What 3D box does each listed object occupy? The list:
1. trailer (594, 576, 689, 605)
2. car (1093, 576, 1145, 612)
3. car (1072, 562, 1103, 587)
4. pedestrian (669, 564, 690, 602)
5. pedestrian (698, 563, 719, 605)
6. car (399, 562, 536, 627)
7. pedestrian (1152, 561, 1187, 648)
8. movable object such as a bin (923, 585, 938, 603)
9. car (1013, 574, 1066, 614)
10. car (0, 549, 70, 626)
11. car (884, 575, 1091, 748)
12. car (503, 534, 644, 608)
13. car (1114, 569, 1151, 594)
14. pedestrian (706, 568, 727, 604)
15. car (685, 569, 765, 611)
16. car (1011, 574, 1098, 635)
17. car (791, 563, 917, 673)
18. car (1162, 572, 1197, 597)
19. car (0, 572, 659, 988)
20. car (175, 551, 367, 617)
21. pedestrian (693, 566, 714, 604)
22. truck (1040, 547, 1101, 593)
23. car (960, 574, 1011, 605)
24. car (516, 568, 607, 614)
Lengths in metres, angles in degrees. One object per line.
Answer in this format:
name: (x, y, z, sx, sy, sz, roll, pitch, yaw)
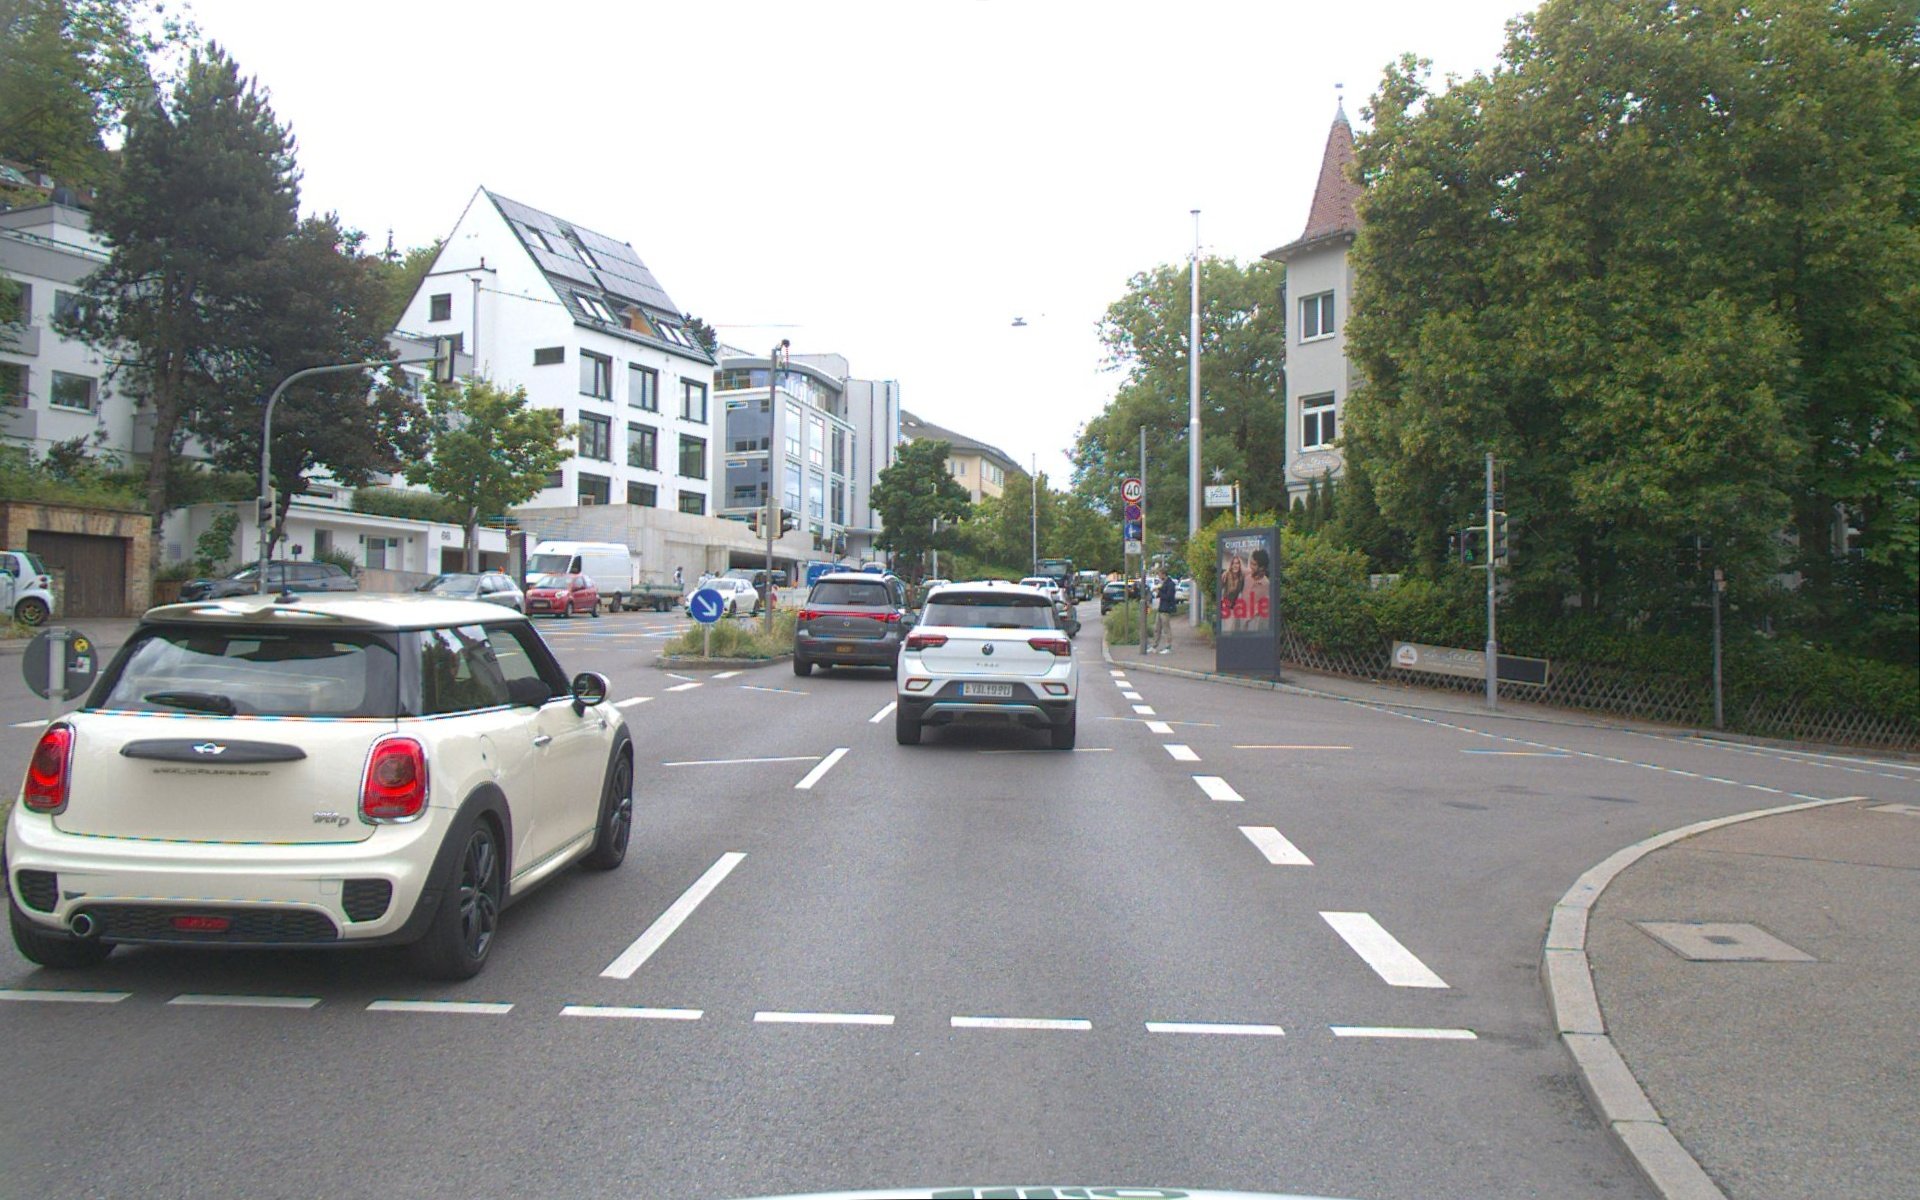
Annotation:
trailer: (-13.126, -0.406, 68.436, 2.198, 1.131, 4.626, 1, 1, 12)
car: (7.417, -0.247, 76.849, 1.833, 1.527, 4.559, 4, 0, 12)
car: (12.455, -2.506, 161.792, 2.025, 2.346, 5.469, 1, 1, 15)
pedestrian: (-12.694, -0.752, 74.773, 0.612, 1.668, 0.672, 3, 1, 19)
pedestrian: (-11.566, -0.722, 76.051, 0.668, 1.872, 0.664, 2, 1, -36)
car: (-12.037, -0.158, 40.738, 1.616, 1.474, 4.570, 2, 1, 5)
pedestrian: (4.619, 0.094, 36.474, 0.678, 1.866, 0.620, 2, 0, 4)
movable object such as a bin: (-1.691, -0.362, 94.820, 0.632, 1.007, 0.660, 1, 1, 22)
car: (3.481, -0.276, 71.545, 1.818, 1.681, 4.640, 0, 1, 8)
car: (-20.528, -0.310, 35.164, 2.670, 1.546, 1.551, 4, -1, -27)
car: (0.171, 0.536, 16.934, 1.776, 1.566, 3.686, 0, 1, -5)
car: (-14.467, -1.090, 62.563, 2.184, 2.612, 7.428, 1, 1, 12)
car: (10.682, -1.158, 102.256, 1.818, 1.526, 4.059, 0, 1, 13)
pedestrian: (-11.362, -0.648, 77.137, 0.668, 1.668, 0.664, 2, 1, -36)
car: (-8.671, -0.369, 61.350, 1.616, 1.417, 4.147, 3, 1, 11)
car: (2.769, 0.129, 47.494, 1.833, 1.527, 4.559, 4, 0, 11)
car: (-1.684, 0.250, 27.653, 1.775, 1.681, 4.636, 0, 1, 0)
car: (13.822, -1.003, 104.023, 1.818, 1.526, 4.059, 0, 1, 13)
car: (-2.546, 0.591, 7.430, 1.594, 1.417, 3.567, 0, 1, 2)
car: (-16.918, -0.392, 40.745, 1.572, 1.566, 4.104, 1, 1, 44)
pedestrian: (-11.621, -0.682, 74.871, 0.668, 1.668, 0.664, 2, 1, -36)
truck: (7.854, -2.087, 116.781, 2.898, 3.023, 8.986, 2, 1, 13)
car: (1.382, -0.553, 88.389, 1.656, 1.527, 4.558, 2, 0, 15)
car: (-13.365, -0.315, 55.697, 1.587, 1.491, 3.930, 1, 1, 9)
